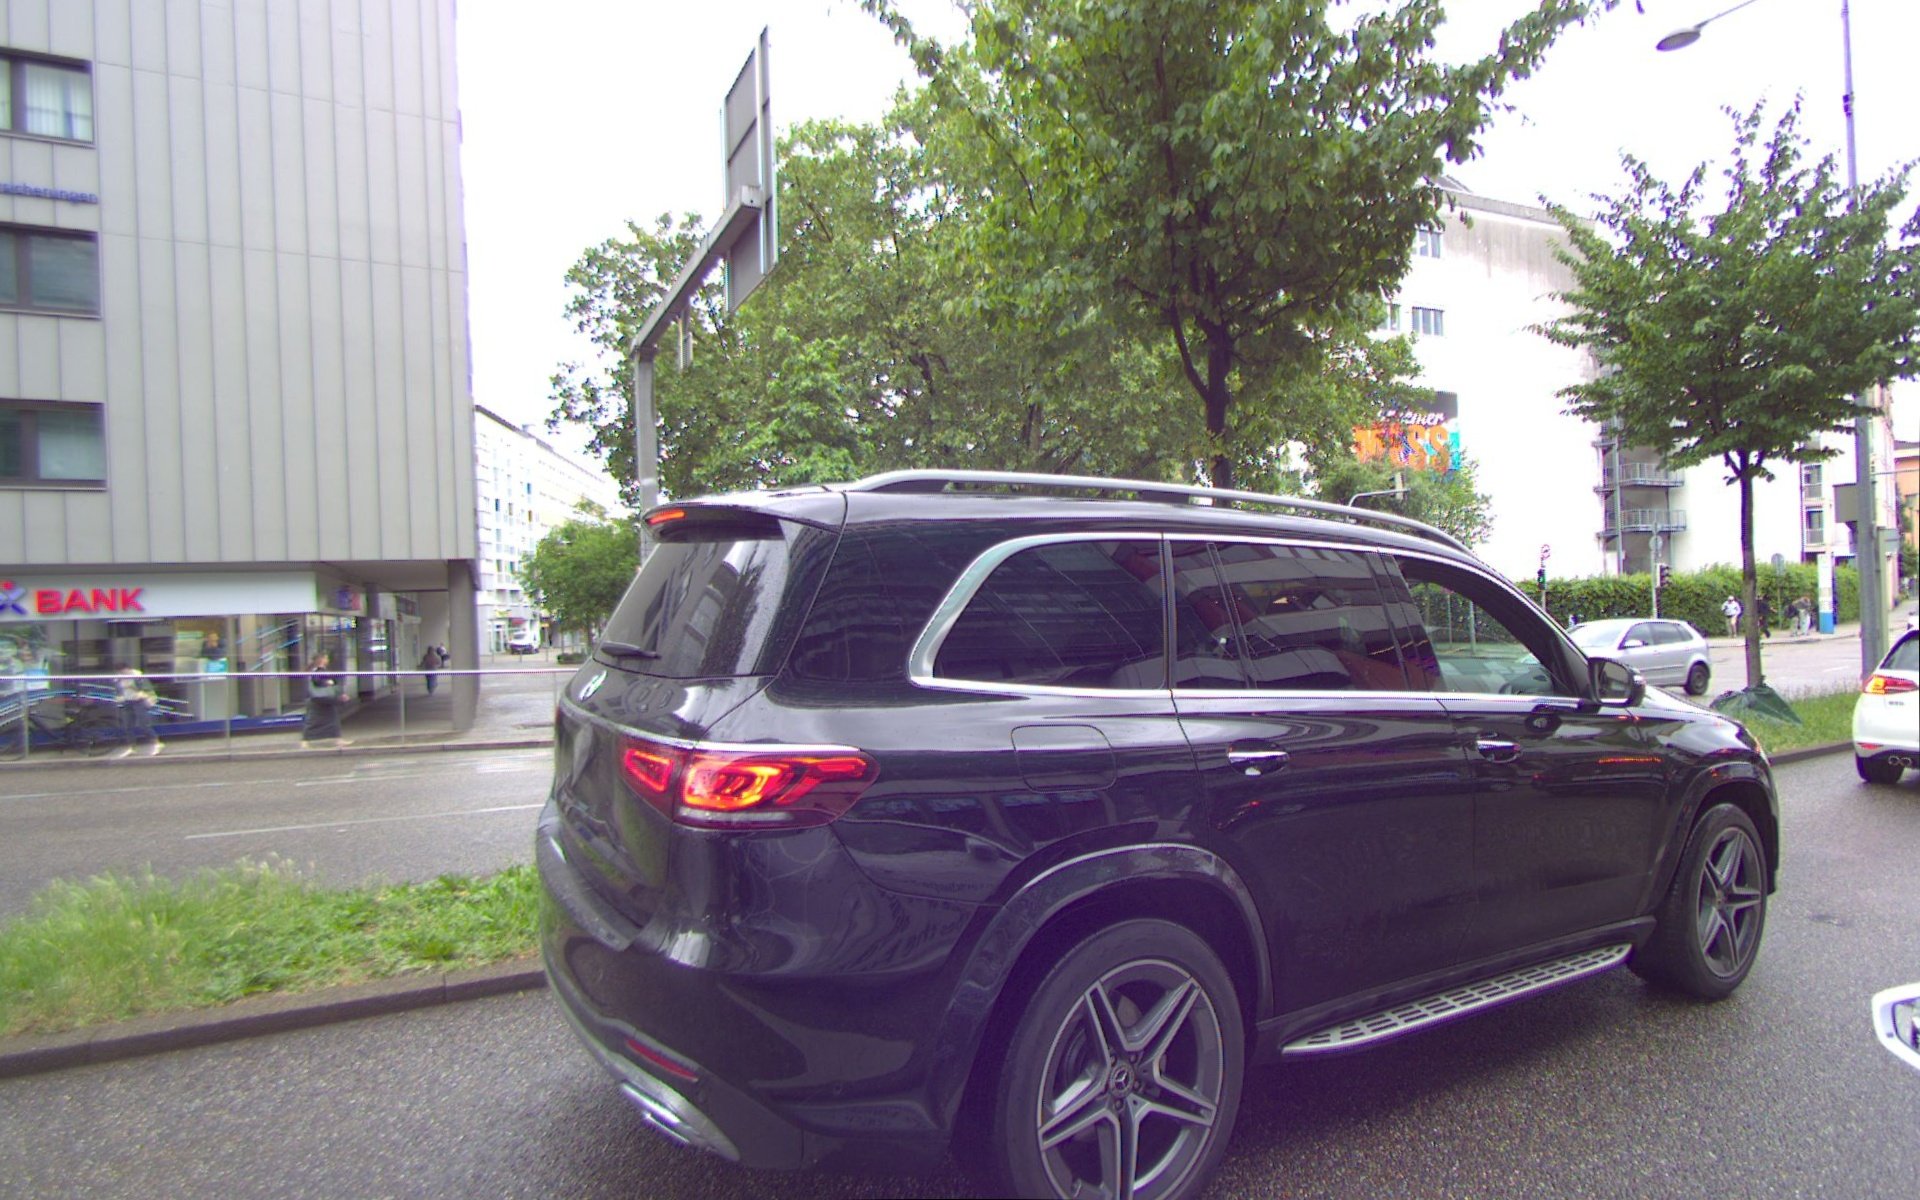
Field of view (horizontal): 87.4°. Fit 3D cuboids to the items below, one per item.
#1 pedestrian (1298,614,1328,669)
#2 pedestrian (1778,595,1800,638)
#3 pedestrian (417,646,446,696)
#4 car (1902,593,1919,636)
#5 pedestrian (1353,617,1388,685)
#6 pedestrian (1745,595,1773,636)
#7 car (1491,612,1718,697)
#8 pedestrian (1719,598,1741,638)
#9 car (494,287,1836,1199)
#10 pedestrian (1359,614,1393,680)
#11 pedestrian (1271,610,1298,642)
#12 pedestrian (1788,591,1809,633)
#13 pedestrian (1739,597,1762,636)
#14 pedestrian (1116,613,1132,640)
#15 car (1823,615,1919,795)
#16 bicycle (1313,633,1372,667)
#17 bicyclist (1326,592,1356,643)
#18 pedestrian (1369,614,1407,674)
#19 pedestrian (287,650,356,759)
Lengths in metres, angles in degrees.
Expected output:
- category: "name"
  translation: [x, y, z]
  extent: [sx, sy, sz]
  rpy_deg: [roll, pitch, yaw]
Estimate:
- category: "pedestrian"
  translation: [11.088, 1.293, 31.585]
  extent: [0.572, 1.689, 0.636]
  rpy_deg: [-2, 0, -30]
- category: "pedestrian"
  translation: [34.780, 0.674, 42.142]
  extent: [0.741, 1.771, 0.535]
  rpy_deg: [2, -1, -38]
- category: "pedestrian"
  translation: [-18.351, 2.449, 34.877]
  extent: [0.719, 1.719, 0.782]
  rpy_deg: [2, -3, -37]
- category: "car"
  translation: [35.019, 0.503, 35.615]
  extent: [3.571, 1.506, 1.565]
  rpy_deg: [0, 1, -33]
- category: "pedestrian"
  translation: [10.313, 1.272, 25.258]
  extent: [0.572, 1.684, 0.554]
  rpy_deg: [-2, 0, -30]
- category: "pedestrian"
  translation: [32.726, 0.624, 41.126]
  extent: [0.724, 1.664, 0.635]
  rpy_deg: [2, -1, -27]
- category: "car"
  translation: [12.138, 1.054, 18.958]
  extent: [3.694, 1.487, 1.632]
  rpy_deg: [2, -4, -18]
- category: "pedestrian"
  translation: [32.140, 0.743, 41.908]
  extent: [0.522, 1.620, 0.576]
  rpy_deg: [2, -1, -36]
- category: "car"
  translation: [1.114, 0.512, 3.809]
  extent: [5.016, 1.895, 1.901]
  rpy_deg: [3, -1, -31]
- category: "pedestrian"
  translation: [10.923, 1.218, 26.373]
  extent: [0.572, 1.684, 0.554]
  rpy_deg: [-2, 0, -30]
- category: "pedestrian"
  translation: [16.579, 1.335, 51.315]
  extent: [0.677, 1.599, 1.055]
  rpy_deg: [2, -1, -34]
- category: "pedestrian"
  translation: [36.049, 0.507, 43.169]
  extent: [0.559, 1.771, 0.535]
  rpy_deg: [2, -1, -35]
- category: "pedestrian"
  translation: [33.053, 0.694, 41.998]
  extent: [0.522, 1.620, 0.576]
  rpy_deg: [2, -1, -36]
- category: "pedestrian"
  translation: [10.245, 1.667, 62.893]
  extent: [0.723, 1.664, 0.635]
  rpy_deg: [2, -1, -23]
- category: "car"
  translation: [9.542, 0.871, 8.963]
  extent: [3.799, 1.448, 1.768]
  rpy_deg: [0, 0, -32]
- category: "bicycle"
  translation: [11.711, 1.522, 30.727]
  extent: [1.918, 1.013, 0.612]
  rpy_deg: [2, -3, -31]
- category: "bicyclist"
  translation: [11.644, 0.548, 30.727]
  extent: [0.602, 1.550, 0.629]
  rpy_deg: [2, -3, -30]
- category: "pedestrian"
  translation: [12.229, 1.250, 28.715]
  extent: [0.620, 1.684, 0.749]
  rpy_deg: [-2, 0, -30]
- category: "pedestrian"
  translation: [-10.197, 1.658, 16.069]
  extent: [0.779, 1.659, 0.632]
  rpy_deg: [2, -1, -22]
